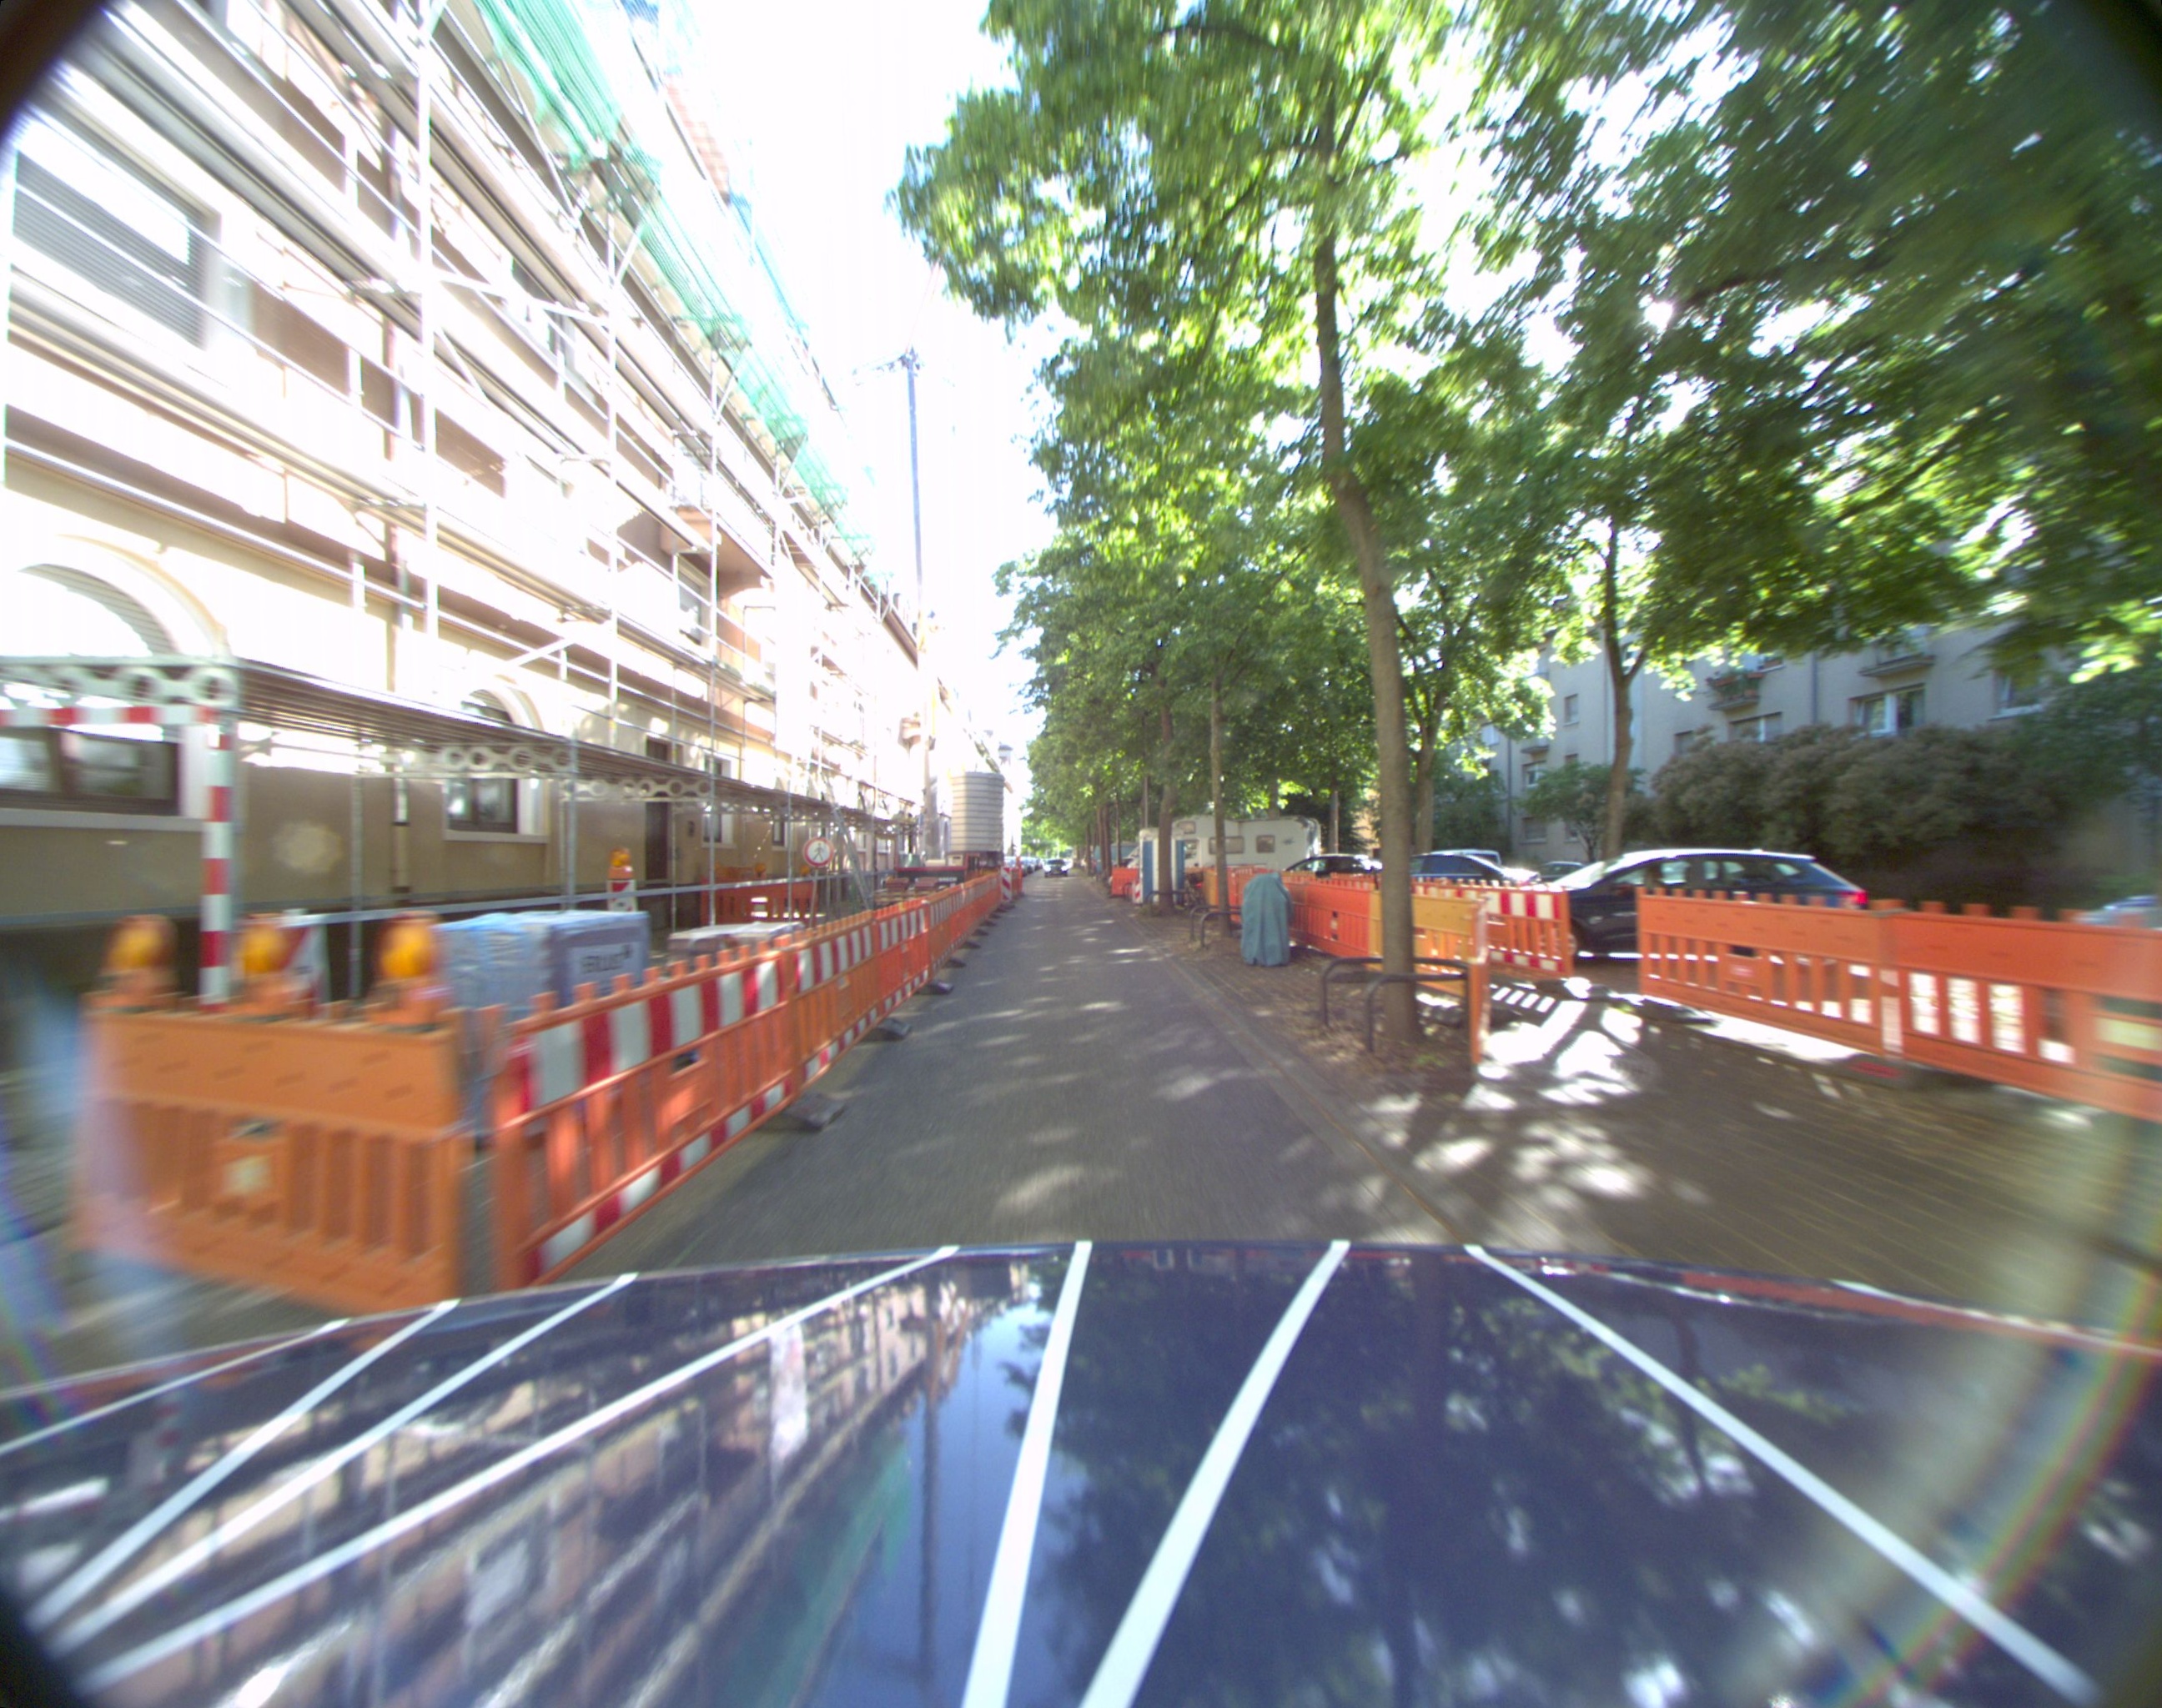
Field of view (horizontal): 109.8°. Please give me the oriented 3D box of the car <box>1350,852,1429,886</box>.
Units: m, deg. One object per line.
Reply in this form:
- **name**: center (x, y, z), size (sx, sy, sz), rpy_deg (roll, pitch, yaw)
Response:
- **car**: center (14.214, 0.653, 35.268), size (1.999, 1.477, 3.999), rpy_deg (0, 0, -1)

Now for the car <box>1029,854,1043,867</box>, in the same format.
- **car**: center (-6.276, 0.841, 106.080), size (1.864, 1.772, 3.999), rpy_deg (0, 0, -2)

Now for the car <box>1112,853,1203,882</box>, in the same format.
- **car**: center (4.075, 0.700, 40.562), size (4.512, 1.474, 1.741), rpy_deg (0, 0, 28)

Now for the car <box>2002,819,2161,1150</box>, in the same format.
- **car**: center (7.274, 0.640, 3.124), size (4.123, 1.616, 1.701), rpy_deg (0, 0, 21)

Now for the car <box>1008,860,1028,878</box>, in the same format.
- **car**: center (-5.152, 1.233, 62.444), size (1.578, 1.428, 3.606), rpy_deg (0, 0, -3)

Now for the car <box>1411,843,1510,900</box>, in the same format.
- **car**: center (14.445, 0.620, 29.192), size (1.625, 2.002, 4.266), rpy_deg (-2, 0, 0)

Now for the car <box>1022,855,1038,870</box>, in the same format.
- **car**: center (-5.984, 1.013, 89.527), size (1.864, 1.772, 3.999), rpy_deg (0, 0, -2)

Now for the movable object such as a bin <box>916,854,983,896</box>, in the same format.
- **movable object such as a bin**: center (-4.990, 0.771, 28.848), size (1.872, 1.518, 1.631), rpy_deg (0, 0, 33)

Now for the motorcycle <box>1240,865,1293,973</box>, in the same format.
- **motorcycle**: center (2.658, 0.859, 10.887), size (0.631, 1.317, 2.231), rpy_deg (-2, 0, 14)

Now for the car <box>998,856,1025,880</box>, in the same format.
- **car**: center (-4.729, 0.930, 52.044), size (1.671, 1.590, 4.272), rpy_deg (0, 0, -3)

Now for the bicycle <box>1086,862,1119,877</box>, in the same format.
- **bicycle**: center (1.463, 1.017, 50.443), size (2.150, 0.964, 0.609), rpy_deg (0, 0, 5)

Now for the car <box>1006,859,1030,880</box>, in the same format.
- **car**: center (-4.796, 1.169, 57.937), size (1.671, 1.503, 3.606), rpy_deg (0, 0, -3)

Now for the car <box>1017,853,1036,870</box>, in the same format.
- **car**: center (-5.543, 0.752, 77.584), size (1.864, 1.772, 3.999), rpy_deg (0, 0, -2)

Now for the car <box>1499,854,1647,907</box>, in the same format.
- **car**: center (14.638, 0.715, 22.902), size (1.724, 1.434, 4.126), rpy_deg (0, 0, -1)

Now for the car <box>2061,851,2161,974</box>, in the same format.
- **car**: center (14.868, 0.757, 8.792), size (1.625, 1.565, 4.193), rpy_deg (-2, 0, 0)

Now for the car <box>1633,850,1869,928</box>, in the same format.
- **car**: center (14.991, 0.701, 17.359), size (1.724, 1.550, 4.112), rpy_deg (0, 0, -1)

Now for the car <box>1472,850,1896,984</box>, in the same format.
- **car**: center (7.262, 0.695, 9.638), size (3.904, 1.452, 1.580), rpy_deg (0, 0, 19)

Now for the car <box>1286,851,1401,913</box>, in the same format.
- **car**: center (7.701, 0.790, 22.335), size (2.984, 1.707, 1.425), rpy_deg (0, 1, 30)

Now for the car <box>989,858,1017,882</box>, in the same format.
- **car**: center (-4.851, 0.968, 47.364), size (1.672, 1.419, 3.970), rpy_deg (0, 0, -6)

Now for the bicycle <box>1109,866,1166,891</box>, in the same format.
- **bicycle**: center (2.411, 1.042, 32.491), size (2.379, 0.972, 0.502), rpy_deg (-2, -3, 7)

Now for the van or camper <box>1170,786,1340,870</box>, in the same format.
- **van or camper**: center (6.706, -0.925, 29.452), size (6.017, 2.984, 2.404), rpy_deg (0, 0, 27)

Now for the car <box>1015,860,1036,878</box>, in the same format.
- **car**: center (-5.213, 1.415, 71.819), size (1.864, 1.584, 3.999), rpy_deg (0, 0, -2)

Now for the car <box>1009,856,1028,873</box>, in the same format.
- **car**: center (-5.570, 0.891, 67.686), size (1.578, 1.446, 3.402), rpy_deg (0, 0, -3)

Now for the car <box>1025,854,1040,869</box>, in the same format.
- **car**: center (-6.089, 0.947, 95.898), size (1.864, 1.772, 3.999), rpy_deg (0, 0, -2)

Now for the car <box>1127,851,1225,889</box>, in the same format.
- **car**: center (4.225, 0.690, 33.781), size (3.990, 1.607, 1.800), rpy_deg (0, 0, 24)

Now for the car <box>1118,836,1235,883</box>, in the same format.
- **car**: center (5.384, 0.282, 42.896), size (6.186, 2.497, 2.142), rpy_deg (0, 0, 26)

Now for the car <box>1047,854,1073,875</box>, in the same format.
- **car**: center (-1.619, 0.811, 60.147), size (1.792, 1.510, 4.000), rpy_deg (-4, 0, 1)

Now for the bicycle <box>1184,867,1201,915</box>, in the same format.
- **bicycle**: center (2.813, 0.907, 19.196), size (0.281, 1.149, 1.551), rpy_deg (0, 0, 3)

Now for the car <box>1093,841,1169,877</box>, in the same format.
- **car**: center (3.107, 0.298, 47.217), size (4.387, 2.155, 1.774), rpy_deg (0, 0, 26)

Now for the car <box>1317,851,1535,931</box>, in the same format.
- **car**: center (7.218, 0.690, 15.994), size (3.989, 1.510, 1.674), rpy_deg (0, 0, 32)
